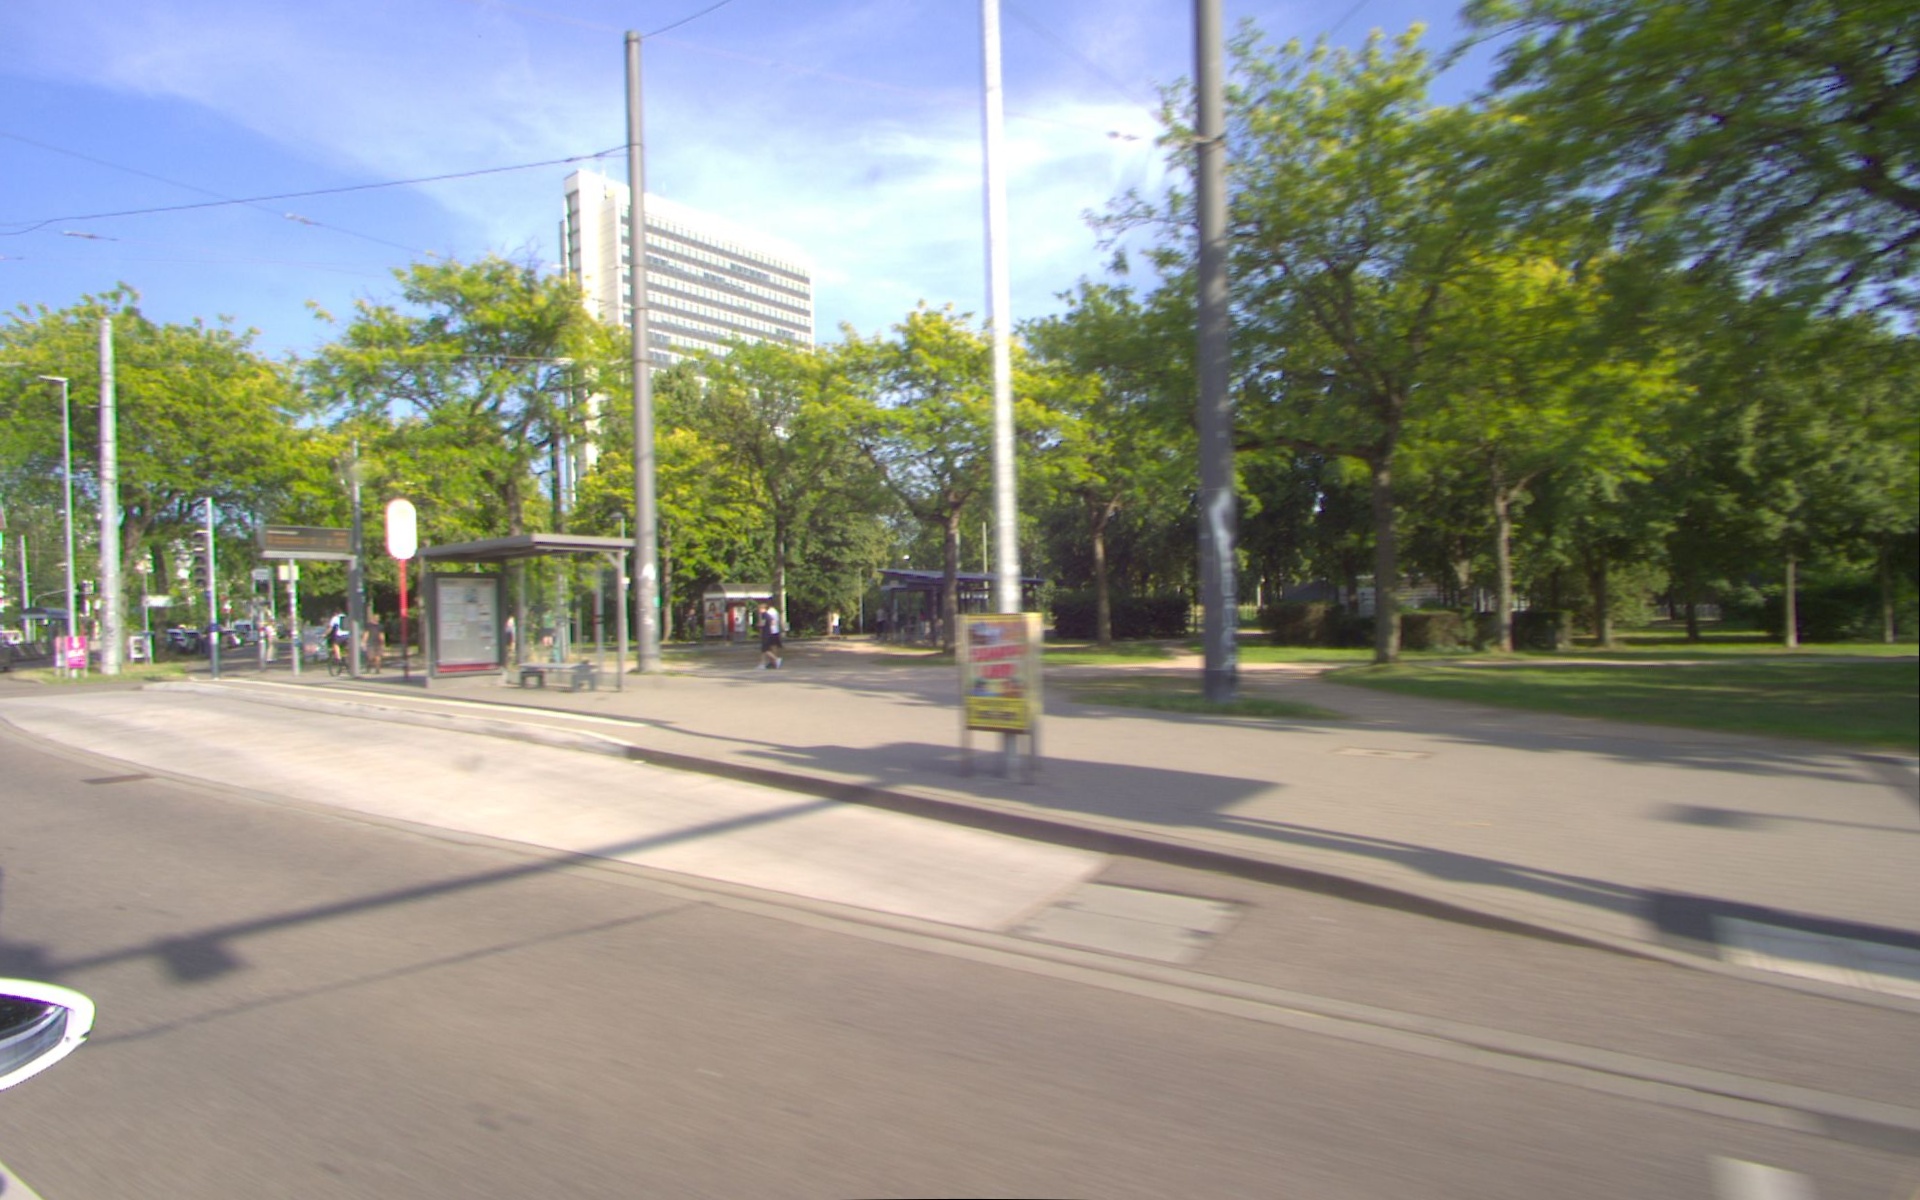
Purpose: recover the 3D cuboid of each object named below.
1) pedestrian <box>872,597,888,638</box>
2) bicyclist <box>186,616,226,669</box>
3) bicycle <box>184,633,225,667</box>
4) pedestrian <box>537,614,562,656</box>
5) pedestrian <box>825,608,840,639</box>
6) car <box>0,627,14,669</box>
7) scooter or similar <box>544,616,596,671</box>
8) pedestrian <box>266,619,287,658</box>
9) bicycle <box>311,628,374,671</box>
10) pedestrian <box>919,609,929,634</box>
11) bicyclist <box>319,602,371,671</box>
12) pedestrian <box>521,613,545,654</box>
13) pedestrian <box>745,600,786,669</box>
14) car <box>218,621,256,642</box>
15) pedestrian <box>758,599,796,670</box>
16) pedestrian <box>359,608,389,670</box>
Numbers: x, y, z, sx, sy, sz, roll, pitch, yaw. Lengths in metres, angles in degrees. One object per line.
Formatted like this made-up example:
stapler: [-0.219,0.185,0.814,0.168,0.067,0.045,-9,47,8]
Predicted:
pedestrian: [-3.714,0.827,46.494,0.597,1.891,0.459,-2,-3,34]
bicyclist: [-25.976,1.460,34.486,1.126,1.770,0.717,-1,3,37]
bicycle: [-26.136,1.707,34.630,1.712,1.103,0.638,-2,2,38]
pedestrian: [-16.964,1.448,41.367,0.681,1.687,0.639,-1,0,33]
pedestrian: [-7.552,1.378,59.241,0.666,1.823,0.605,2,-2,-43]
car: [-38.126,1.855,38.650,1.818,1.620,3.789,1,-2,-36]
scooter or similar: [-8.863,0.990,22.768,1.116,1.248,0.351,-1,0,19]
pedestrian: [-29.612,1.663,43.395,0.636,1.687,0.685,-1,0,-41]
bicycle: [-16.531,1.320,26.797,1.913,1.103,0.638,-2,2,33]
pedestrian: [-2.419,1.428,67.104,0.478,1.687,0.412,-1,0,32]
bicyclist: [-16.329,0.970,26.584,1.124,1.770,0.647,-2,3,33]
pedestrian: [-17.795,1.395,41.735,0.681,1.687,0.639,-1,0,33]
pedestrian: [-5.160,0.918,26.633,0.864,1.799,0.673,0,-2,14]
car: [-58.306,2.535,80.791,1.831,1.535,3.983,-3,0,-27]
pedestrian: [-5.029,0.948,27.600,0.863,1.921,0.673,0,-2,6]
pedestrian: [-17.194,1.148,29.381,0.581,1.799,0.575,-1,-2,42]
